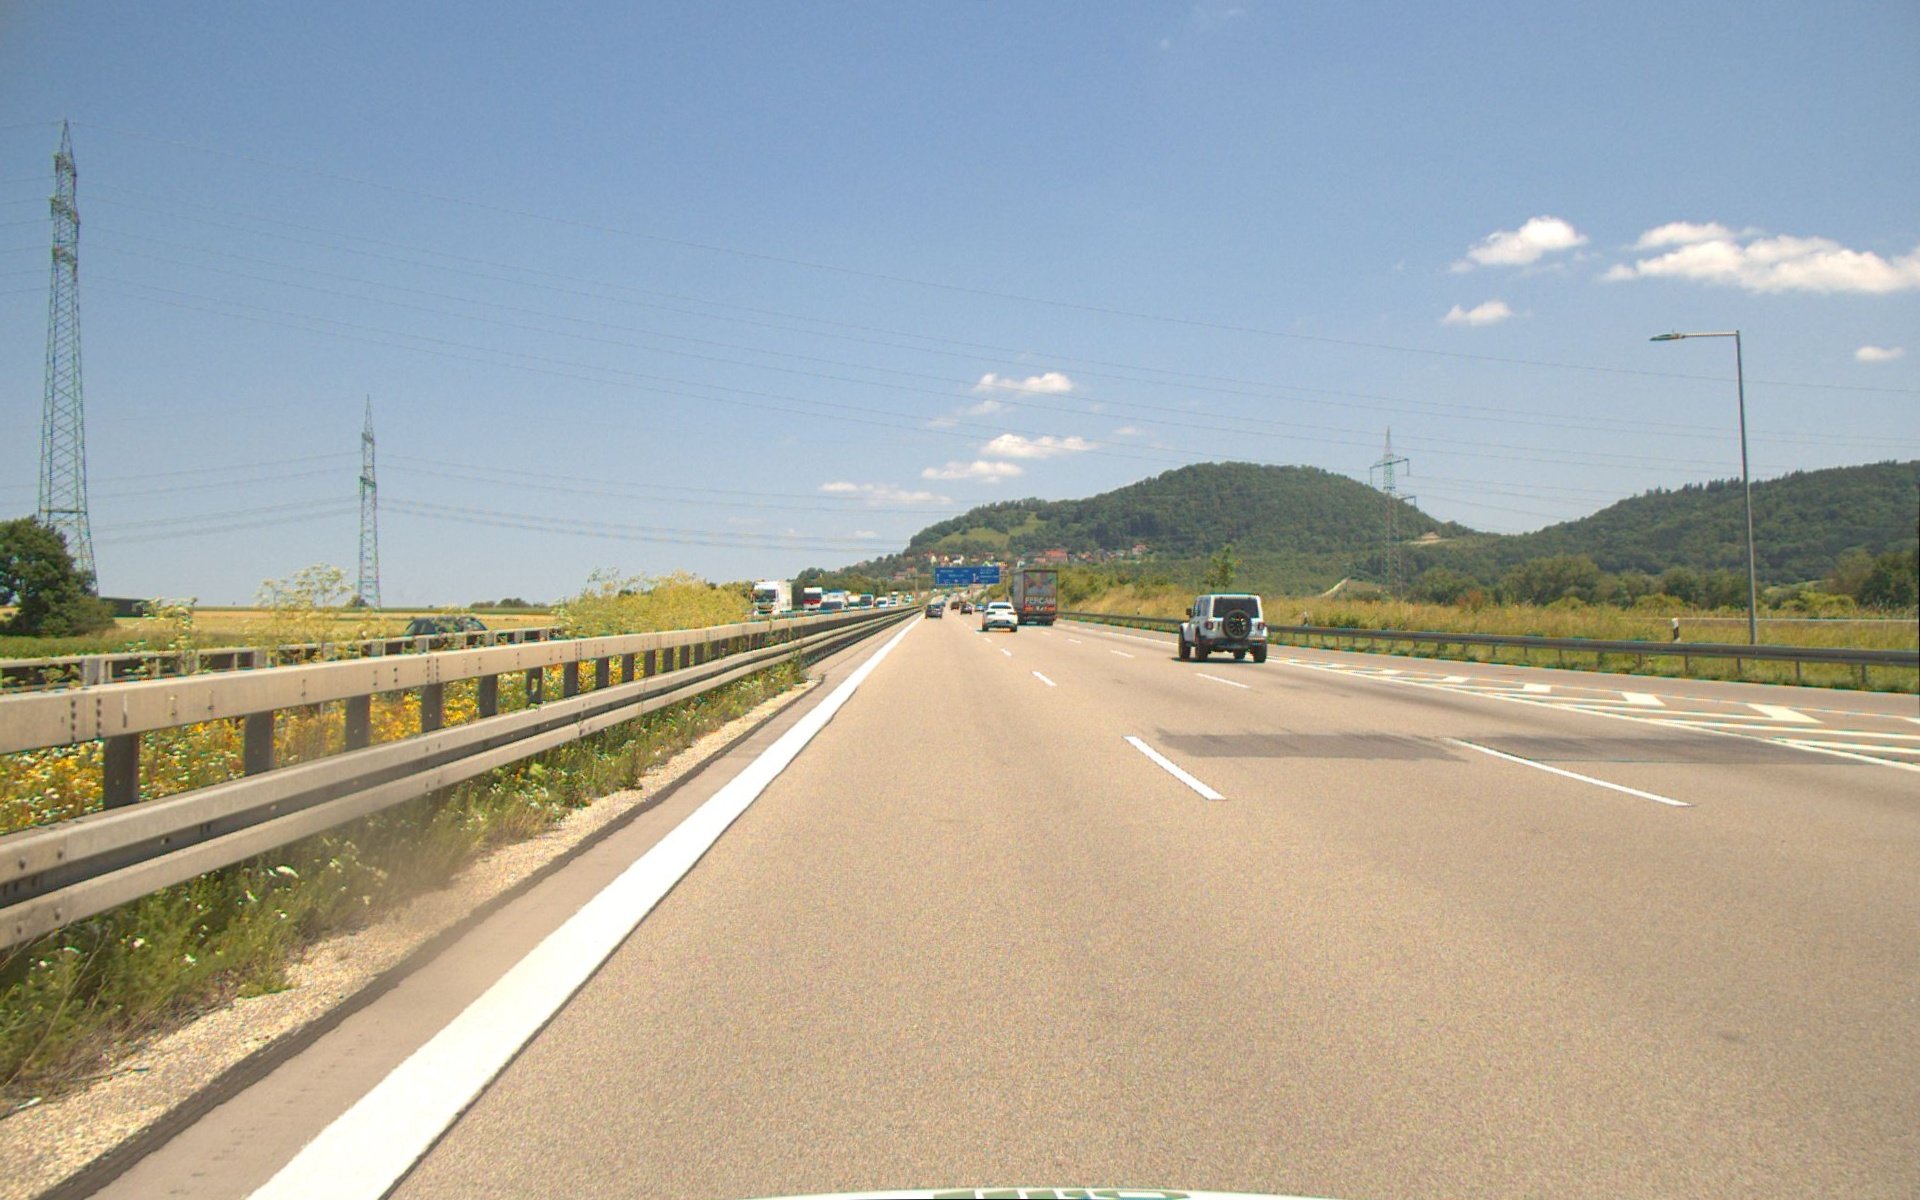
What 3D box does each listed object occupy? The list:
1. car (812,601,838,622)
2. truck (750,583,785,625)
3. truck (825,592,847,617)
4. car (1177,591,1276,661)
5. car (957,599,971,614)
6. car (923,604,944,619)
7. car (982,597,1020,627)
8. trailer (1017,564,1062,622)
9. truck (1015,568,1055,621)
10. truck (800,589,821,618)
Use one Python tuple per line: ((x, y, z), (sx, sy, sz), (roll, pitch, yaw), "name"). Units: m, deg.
((-11.120, 0.948, 136.262), (1.773, 1.669, 4.427), (-2, -1, -1), "car")
((-19.009, 0.387, 163.826), (2.880, 3.999, 6.474), (1, -1, -2), "truck")
((-15.398, 0.594, 206.203), (2.203, 3.062, 7.426), (-2, 0, -1), "truck")
((7.492, 0.700, 46.901), (1.993, 1.836, 4.249), (-1, 0, -2), "car")
((0.530, 0.892, 234.989), (1.953, 2.049, 3.999), (1, -1, 0), "car")
((-2.592, 1.116, 161.971), (1.953, 1.413, 3.999), (1, -1, 0), "car")
((2.278, 0.688, 92.320), (1.875, 1.608, 5.229), (1, -1, -1), "car")
((6.027, -0.458, 126.406), (2.670, 4.228, 11.805), (1, -1, -1), "trailer")
((5.953, -0.414, 132.386), (2.696, 4.091, 6.787), (1, -1, -1), "truck")
((-20.079, 0.479, 222.616), (2.665, 3.755, 6.050), (1, -1, -5), "truck")
